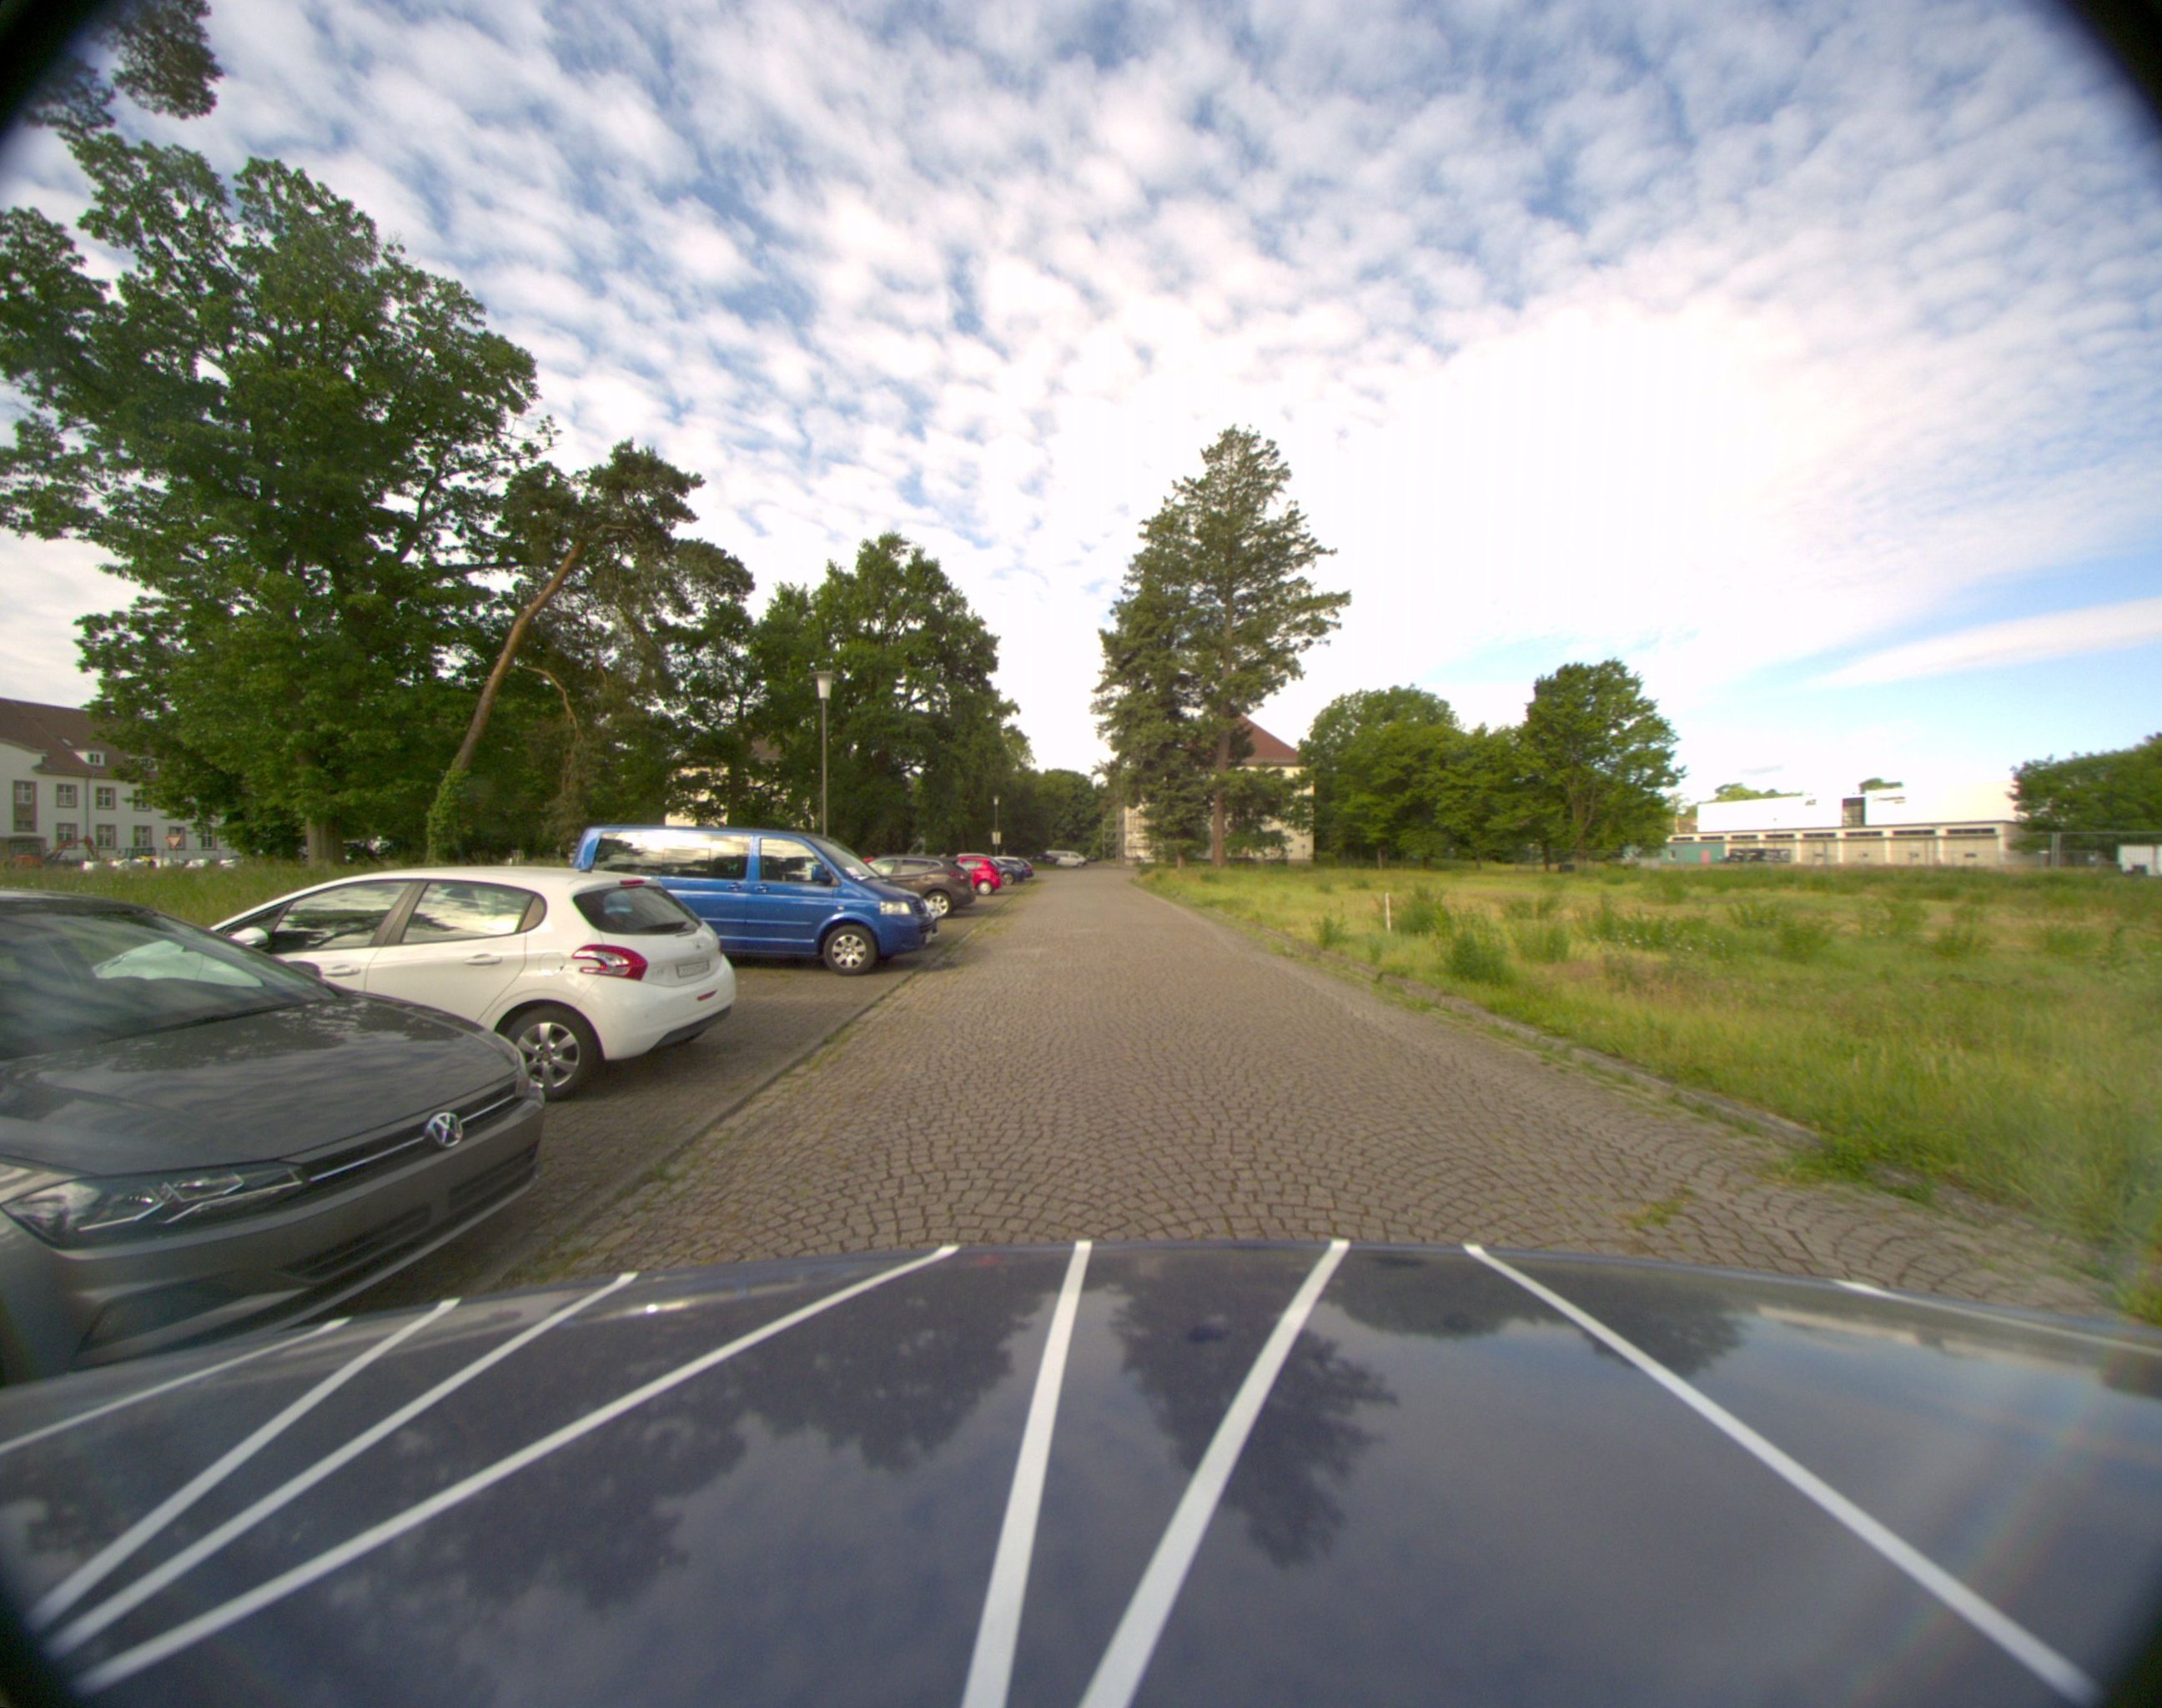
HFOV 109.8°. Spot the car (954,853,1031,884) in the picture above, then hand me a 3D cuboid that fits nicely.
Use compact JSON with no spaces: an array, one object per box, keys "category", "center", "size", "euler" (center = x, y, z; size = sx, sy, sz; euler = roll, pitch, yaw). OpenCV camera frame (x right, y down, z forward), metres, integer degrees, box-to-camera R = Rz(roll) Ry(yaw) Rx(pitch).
[{"category":"car","center":[-4.656,0.759,40.348],"size":[3.836,1.609,1.581],"euler":[0,1,4]}]

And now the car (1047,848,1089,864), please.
[{"category":"car","center":[-1.572,0.256,93.819],"size":[5.130,2.002,1.804],"euler":[0,1,-2]}]

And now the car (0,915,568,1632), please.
[{"category":"car","center":[-4.168,1.006,2.553],"size":[3.781,1.457,1.643],"euler":[0,1,1]}]

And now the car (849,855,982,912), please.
[{"category":"car","center":[-4.809,0.837,22.470],"size":[3.634,1.592,1.580],"euler":[0,0,-4]}]

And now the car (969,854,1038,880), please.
[{"category":"car","center":[-4.573,0.769,45.060],"size":[3.836,1.520,1.674],"euler":[0,1,4]}]

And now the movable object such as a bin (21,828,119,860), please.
[{"category":"movable object such as a bin","center":[-90.347,-0.867,68.015],"size":[1.999,2.752,5.201],"euler":[0,1,-5]}]

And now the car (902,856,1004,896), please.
[{"category":"car","center":[-4.968,0.849,29.901],"size":[3.839,1.516,1.580],"euler":[0,1,-4]}]

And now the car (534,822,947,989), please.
[{"category":"car","center":[-4.615,0.661,10.908],"size":[4.954,2.011,2.060],"euler":[2,1,0]}]

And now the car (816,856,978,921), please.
[{"category":"car","center":[-4.631,0.858,19.555],"size":[3.839,1.592,1.580],"euler":[0,0,-4]}]

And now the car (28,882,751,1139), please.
[{"category":"car","center":[-4.603,0.985,5.454],"size":[3.761,1.490,1.581],"euler":[0,1,1]}]
